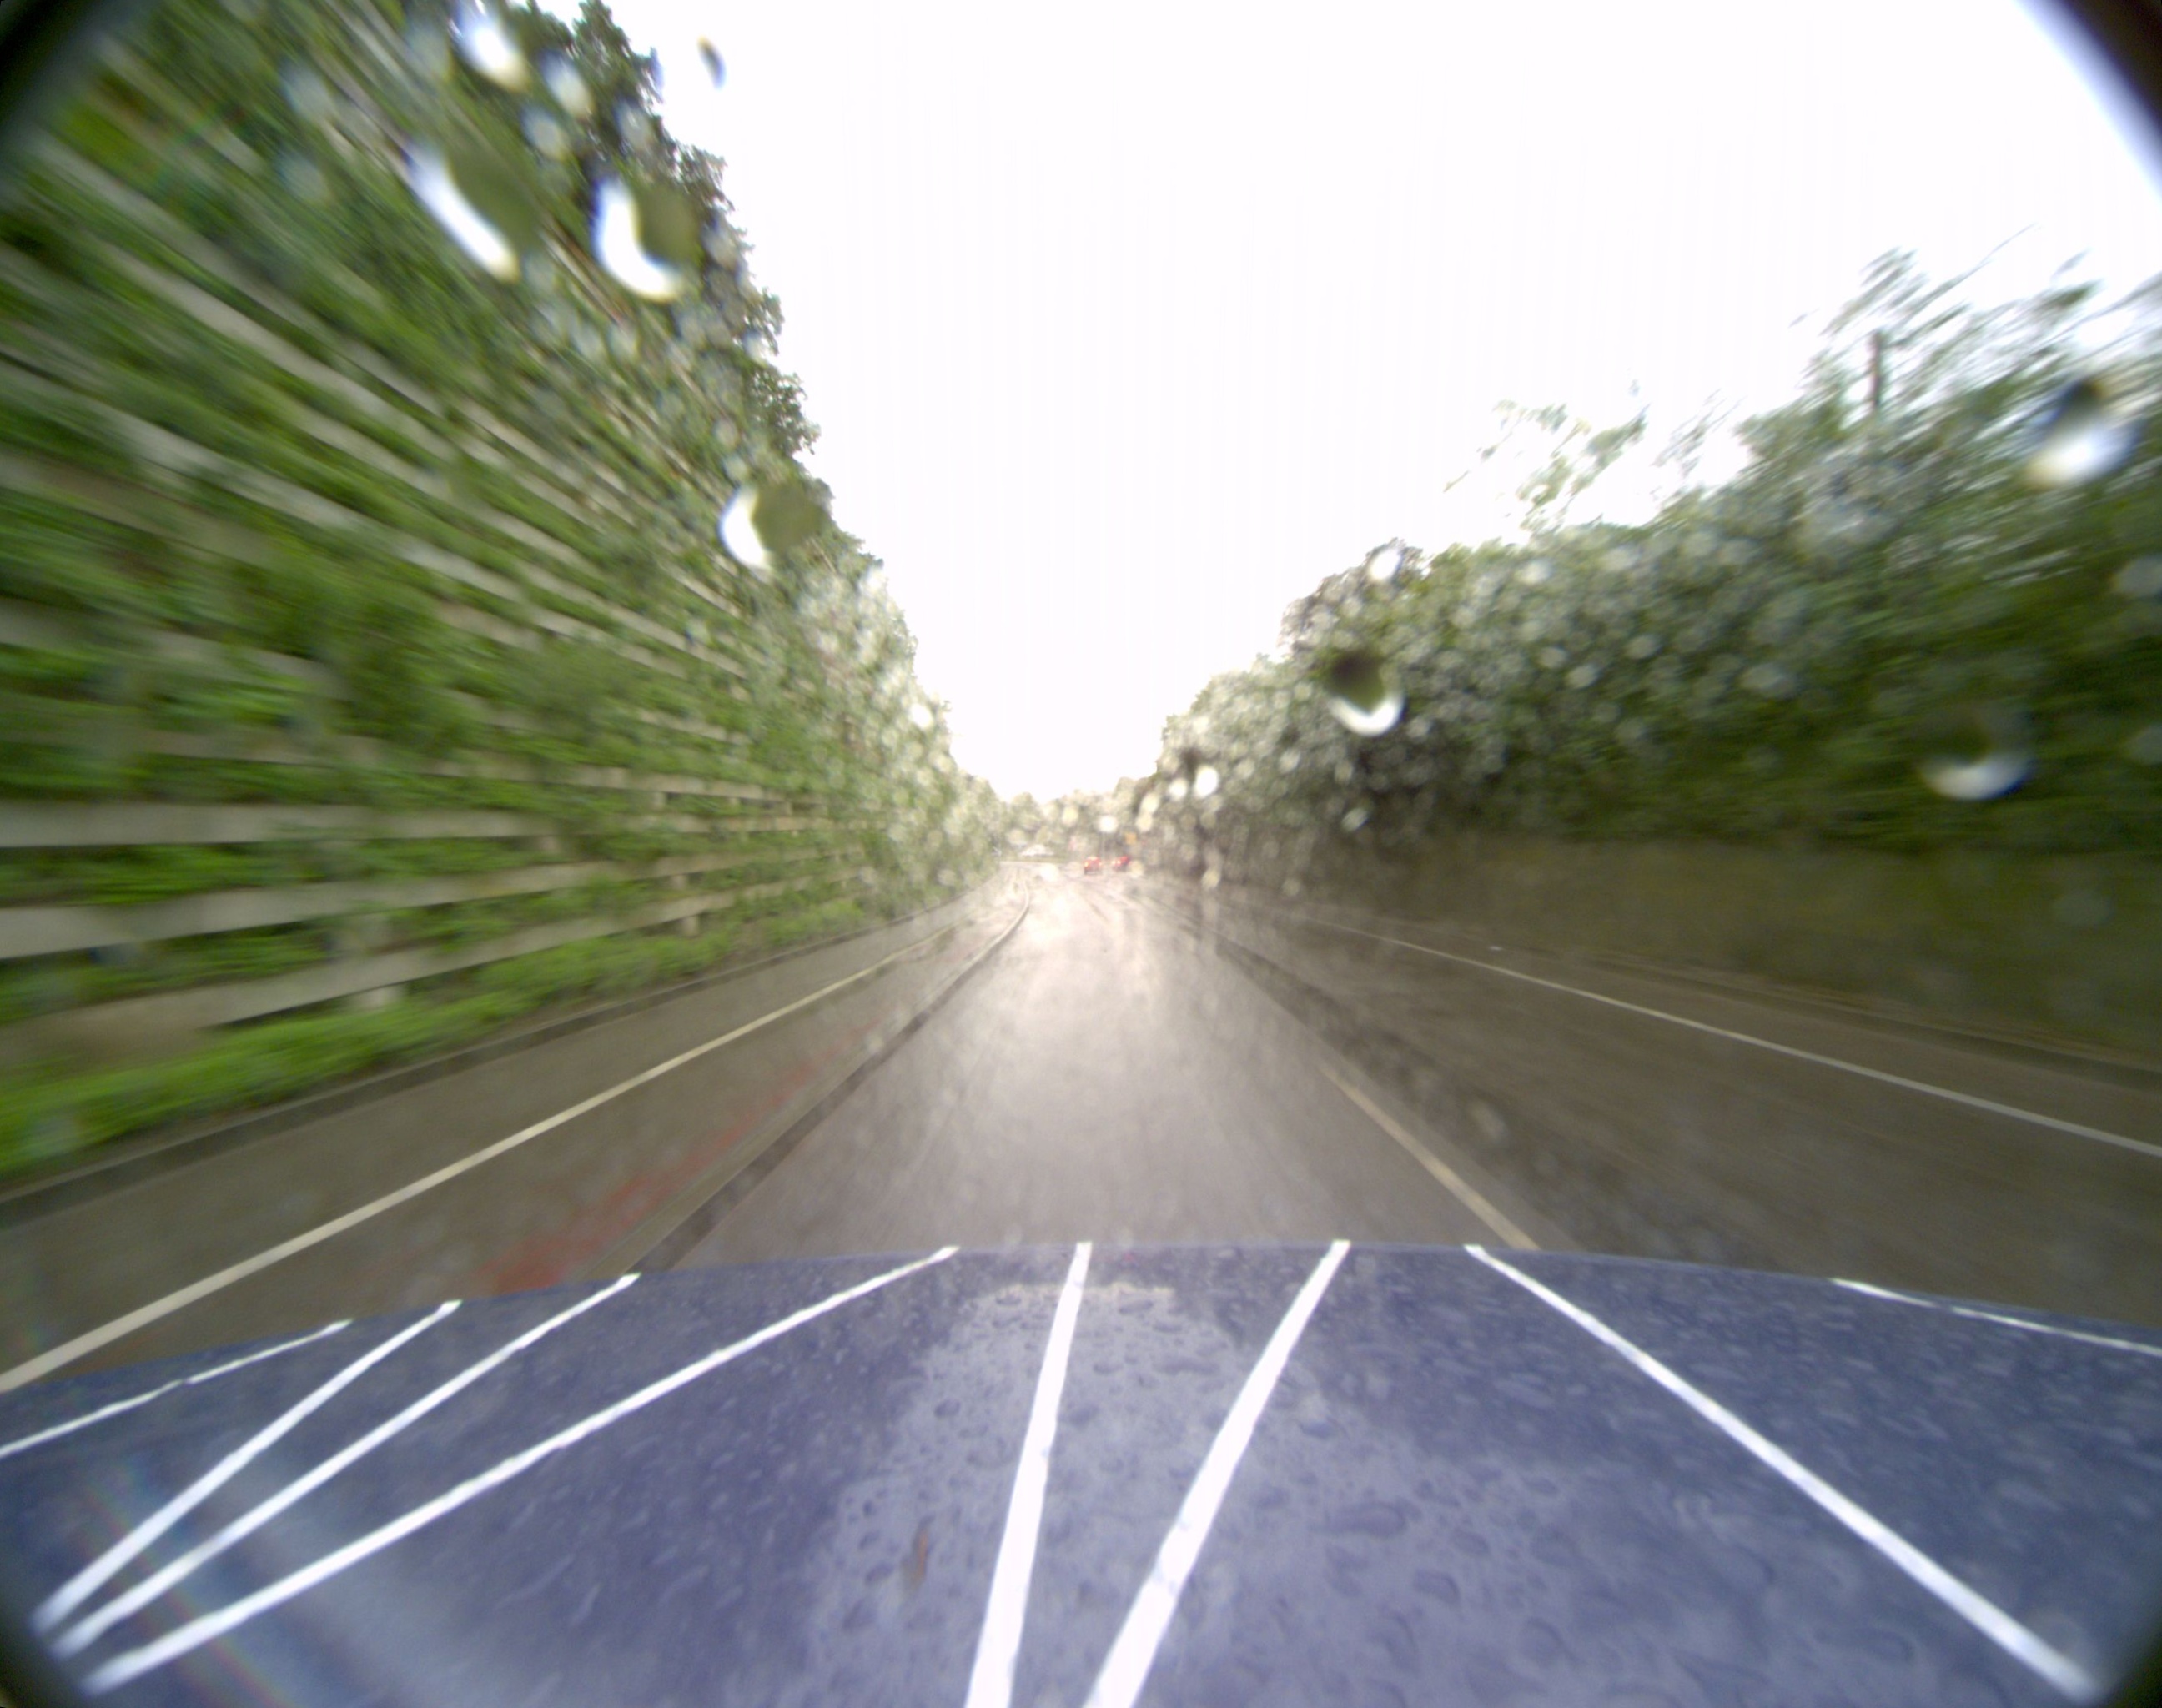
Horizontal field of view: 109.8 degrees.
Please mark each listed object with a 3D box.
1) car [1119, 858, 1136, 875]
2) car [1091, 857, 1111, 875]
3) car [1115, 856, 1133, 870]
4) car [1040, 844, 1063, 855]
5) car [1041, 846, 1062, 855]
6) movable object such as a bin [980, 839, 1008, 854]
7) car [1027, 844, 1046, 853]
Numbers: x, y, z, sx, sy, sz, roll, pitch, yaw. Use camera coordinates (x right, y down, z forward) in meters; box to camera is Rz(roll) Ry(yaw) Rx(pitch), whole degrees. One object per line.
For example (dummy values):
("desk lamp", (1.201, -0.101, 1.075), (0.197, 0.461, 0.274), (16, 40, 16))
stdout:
("car", (5.135, 1.348, 84.405), (1.819, 1.648, 4.050), (1, 2, 3))
("car", (2.006, 1.138, 75.014), (1.736, 1.609, 4.001), (-1, 1, 5))
("car", (5.183, 1.035, 91.648), (1.998, 1.494, 4.729), (2, 1, 3))
("car", (-5.613, -0.883, 145.087), (4.234, 1.969, 1.903), (2, 2, -4))
("car", (-5.471, -0.642, 142.567), (3.823, 1.559, 1.773), (2, 1, -4))
("movable object such as a bin", (-15.628, -1.338, 136.378), (2.316, 2.670, 5.686), (1, 1, -39))
("car", (-9.671, -1.282, 165.963), (3.963, 1.869, 1.692), (2, 2, -8))
